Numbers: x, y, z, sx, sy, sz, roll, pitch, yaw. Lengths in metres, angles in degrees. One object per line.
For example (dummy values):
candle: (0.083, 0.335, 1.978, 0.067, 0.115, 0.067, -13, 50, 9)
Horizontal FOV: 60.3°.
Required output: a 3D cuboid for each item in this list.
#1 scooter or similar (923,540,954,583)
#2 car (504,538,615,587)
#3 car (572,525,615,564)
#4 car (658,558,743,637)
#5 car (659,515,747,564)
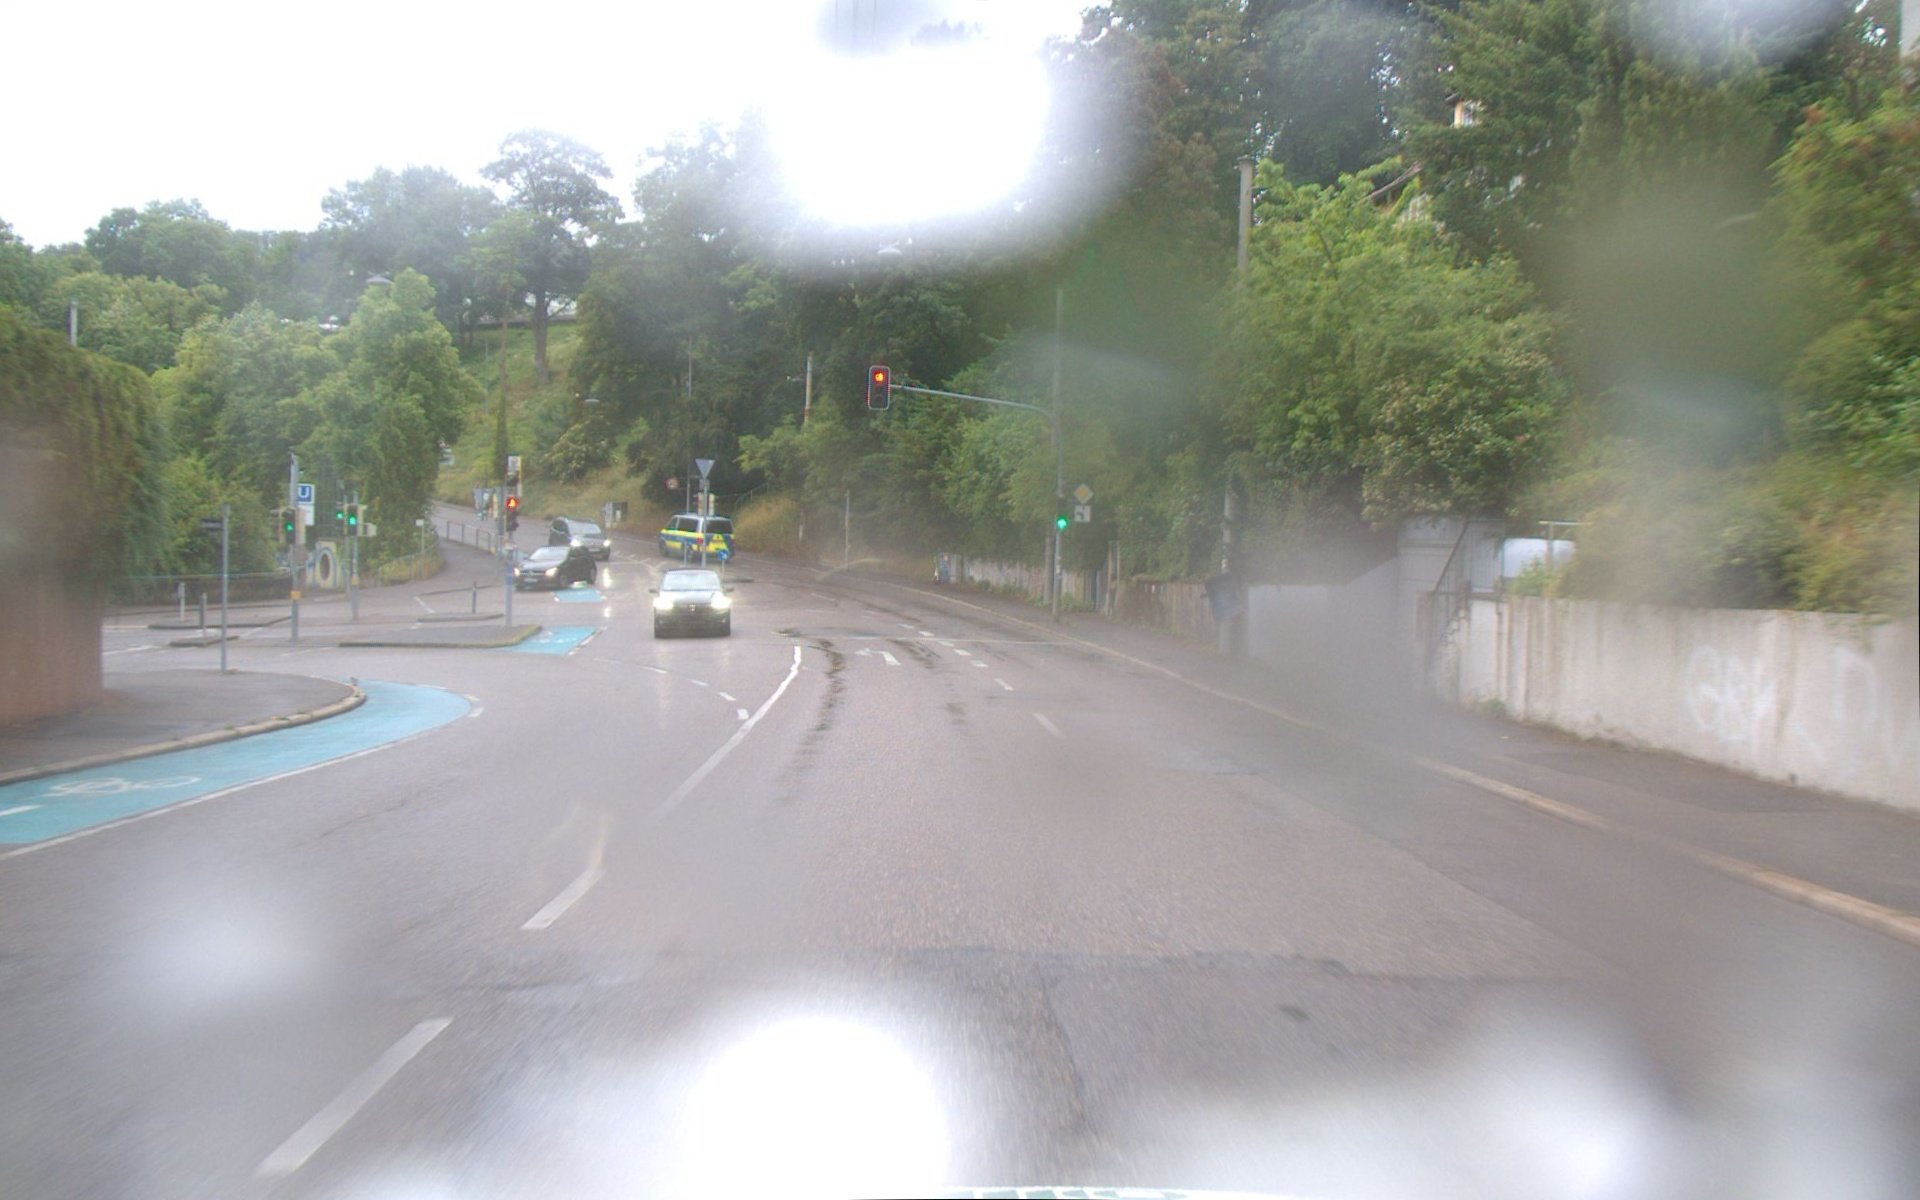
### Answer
scooter or similar: (-0.805, -1.419, 60.752, 0.607, 1.446, 2.151, -1, 5, -16)
car: (-14.006, -1.337, 58.056, 1.706, 1.577, 4.000, 0, 3, 23)
car: (-15.967, -2.450, 71.971, 1.712, 1.576, 3.986, -1, 3, -14)
car: (-5.990, -0.110, 38.539, 1.707, 1.576, 3.997, -1, 4, -6)
car: (-11.399, -2.708, 73.176, 2.289, 1.972, 4.274, -3, 5, -34)
